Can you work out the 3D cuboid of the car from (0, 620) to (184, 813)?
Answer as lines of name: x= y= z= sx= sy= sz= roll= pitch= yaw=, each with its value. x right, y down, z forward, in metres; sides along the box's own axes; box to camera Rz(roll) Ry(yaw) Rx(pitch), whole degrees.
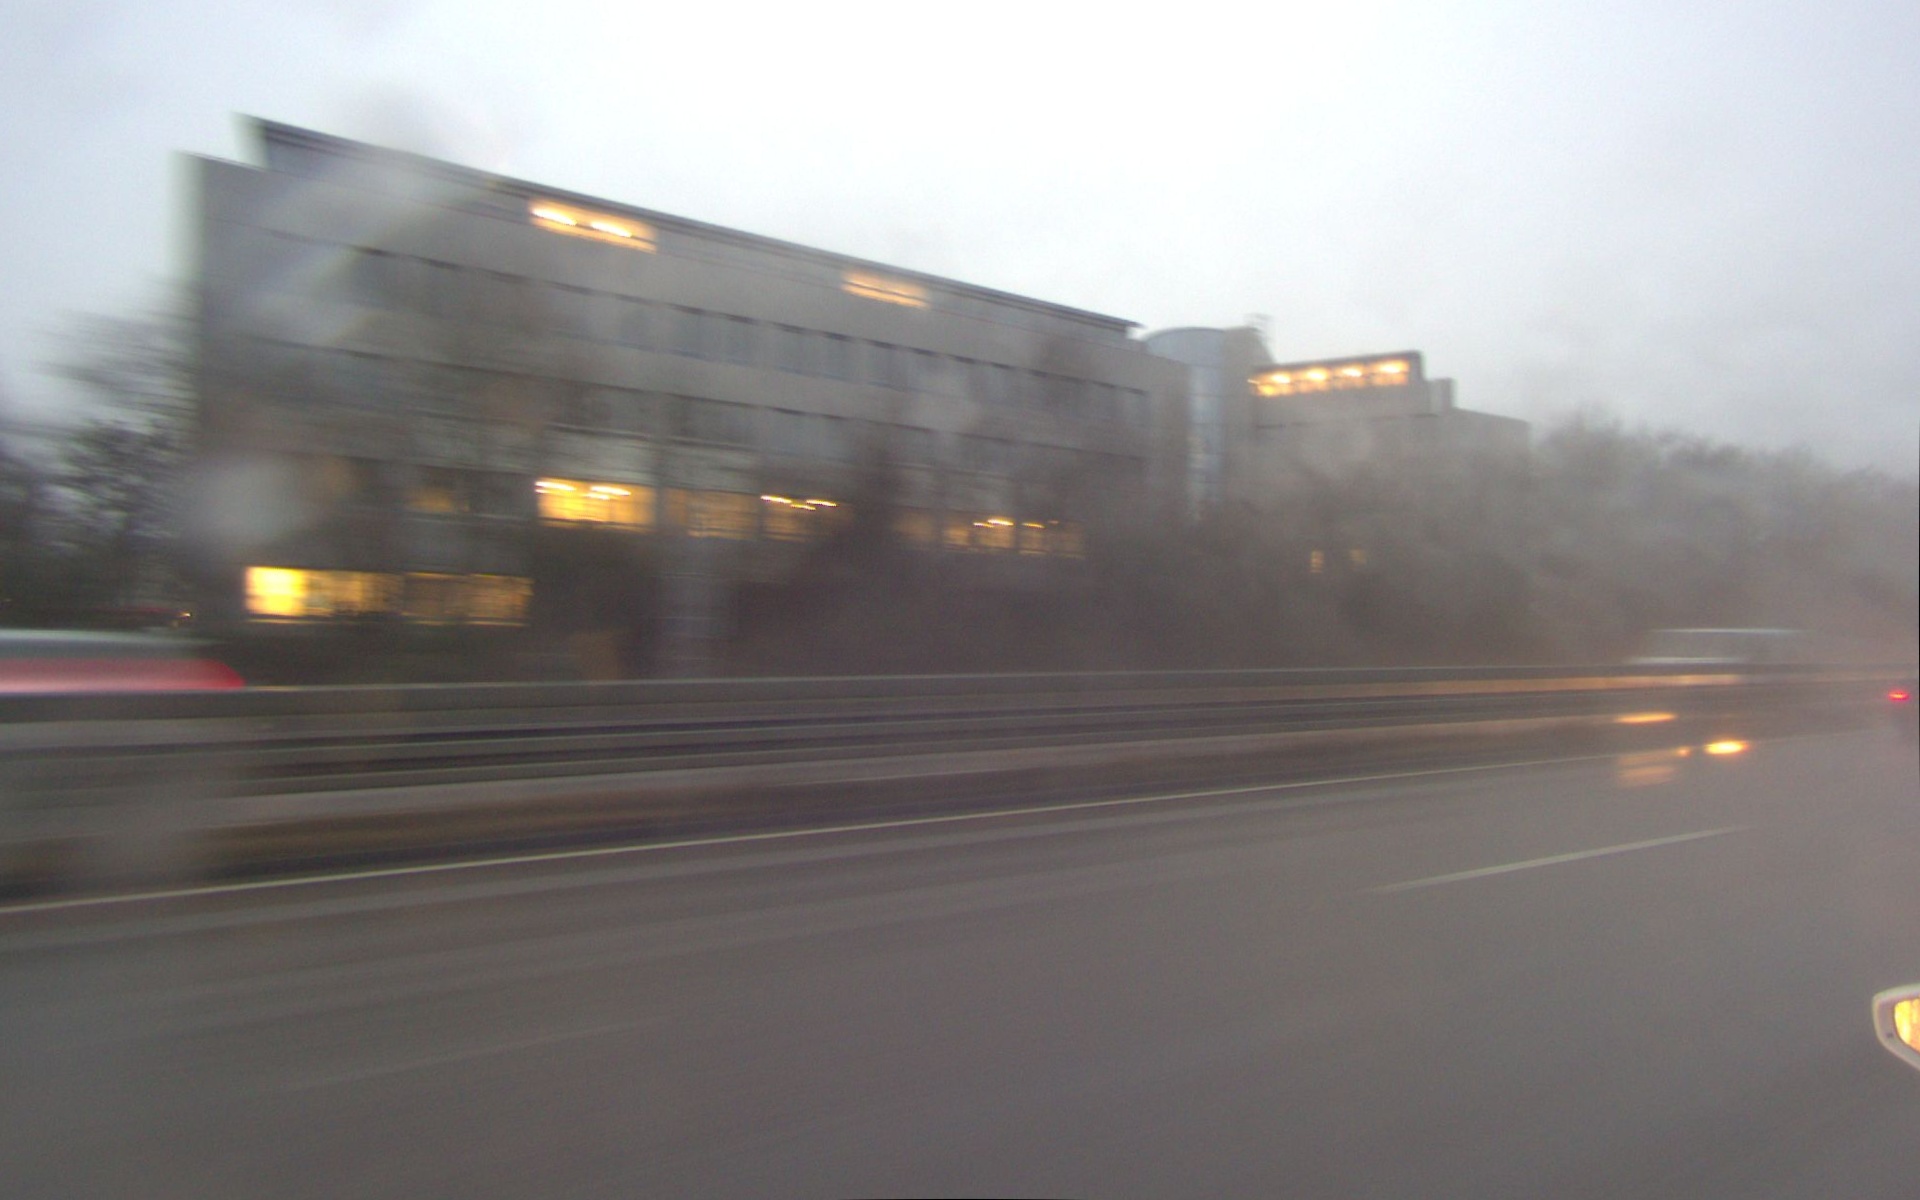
car: x=-9.948 y=1.008 z=8.894 sx=4.615 sy=1.678 sz=1.833 roll=1 pitch=-2 yaw=-31

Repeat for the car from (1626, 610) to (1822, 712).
car: x=18.939 y=1.451 z=24.868 sx=4.985 sy=2.311 sz=1.967 roll=1 pitch=-2 yaw=-28

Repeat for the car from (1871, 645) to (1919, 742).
car: x=17.470 y=1.532 z=16.864 sx=4.645 sy=1.554 sz=1.769 roll=2 pitch=-4 yaw=-29
